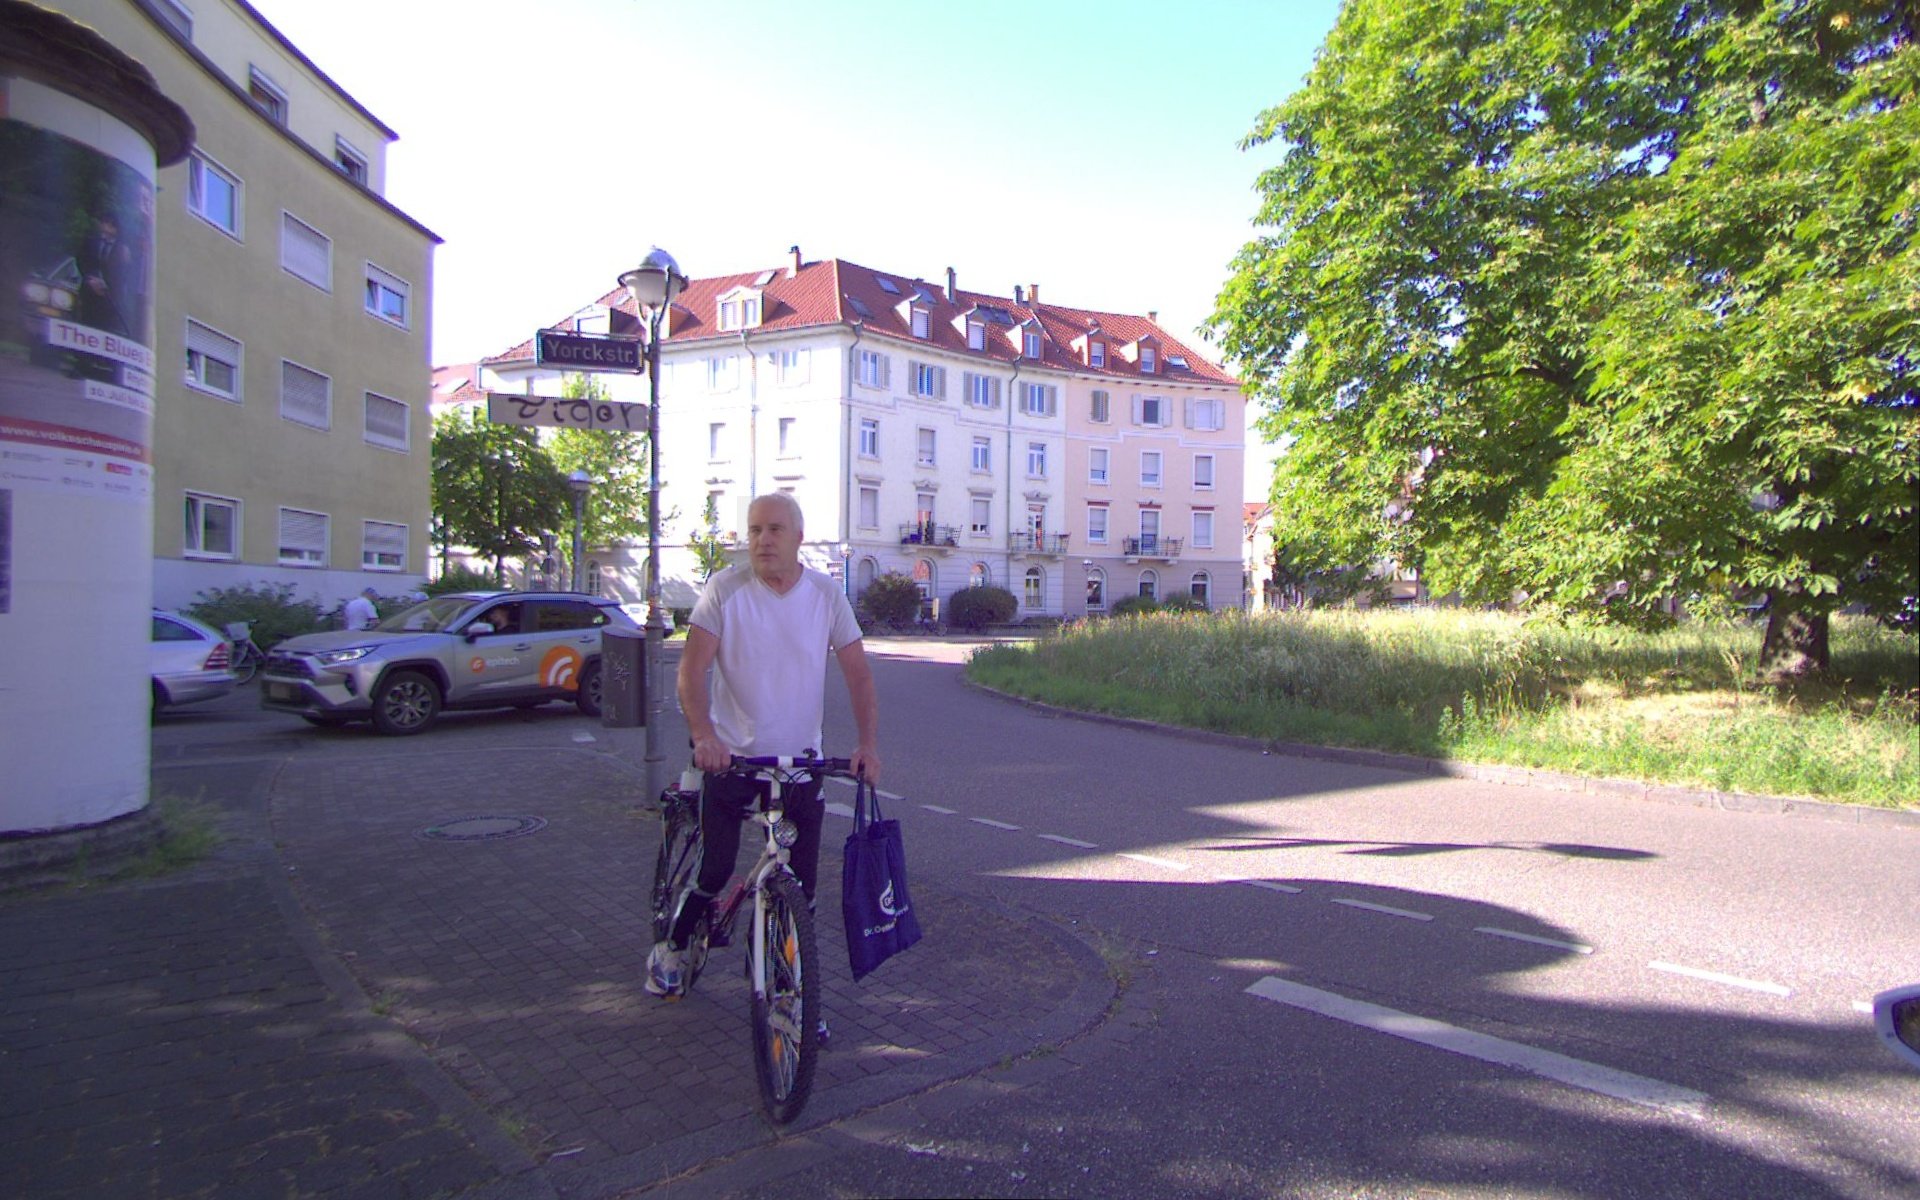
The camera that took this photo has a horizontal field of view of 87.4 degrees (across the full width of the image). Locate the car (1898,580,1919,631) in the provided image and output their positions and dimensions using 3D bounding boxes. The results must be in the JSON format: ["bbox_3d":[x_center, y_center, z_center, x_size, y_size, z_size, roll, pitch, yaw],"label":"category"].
[{"bbox_3d":[50.129,0.338,49.478,2.061,2.635,6.378,1,1,3],"label":"car"}]

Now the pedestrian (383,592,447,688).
[{"bbox_3d":[-9.176,0.653,16.919,0.639,1.544,0.695,5,3,33],"label":"pedestrian"}]

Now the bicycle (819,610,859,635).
[{"bbox_3d":[-5.557,1.047,46.258,1.770,1.122,0.498,1,0,-16],"label":"bicycle"}]

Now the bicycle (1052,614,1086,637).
[{"bbox_3d":[5.528,1.293,50.894,1.663,1.103,0.499,1,2,-25],"label":"bicycle"}]

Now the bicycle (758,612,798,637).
[{"bbox_3d":[-8.414,1.115,46.426,1.765,1.139,0.570,0,0,20],"label":"bicycle"}]

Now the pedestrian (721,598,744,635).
[{"bbox_3d":[-10.406,0.737,46.016,0.731,1.683,0.774,0,0,20],"label":"pedestrian"}]

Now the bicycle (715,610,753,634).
[{"bbox_3d":[-10.964,1.081,48.707,1.765,1.139,0.570,0,0,20],"label":"bicycle"}]

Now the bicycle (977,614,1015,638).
[{"bbox_3d":[1.771,1.270,49.296,1.772,1.139,0.568,3,-1,-19],"label":"bicycle"}]

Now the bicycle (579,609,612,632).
[{"bbox_3d":[-19.020,1.081,52.410,1.767,1.157,0.570,0,0,28],"label":"bicycle"}]

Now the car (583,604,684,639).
[{"bbox_3d":[-13.964,0.904,42.981,3.923,1.431,1.799,0,0,23],"label":"car"}]

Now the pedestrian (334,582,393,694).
[{"bbox_3d":[-9.555,0.594,16.091,0.545,1.716,0.607,5,3,33],"label":"pedestrian"}]

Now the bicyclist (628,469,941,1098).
[{"bbox_3d":[-0.599,0.506,3.293,0.756,1.718,0.805,1,0,-32],"label":"bicyclist"}]

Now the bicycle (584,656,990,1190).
[{"bbox_3d":[-0.718,0.852,3.475,0.756,1.214,1.854,1,0,-31],"label":"bicycle"}]

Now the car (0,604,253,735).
[{"bbox_3d":[-10.993,0.763,11.709,4.449,1.430,1.714,1,-1,-38],"label":"car"}]

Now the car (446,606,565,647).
[{"bbox_3d":[-16.971,0.948,37.544,3.921,1.430,1.804,0,0,20],"label":"car"}]

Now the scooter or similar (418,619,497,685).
[{"bbox_3d":[-8.820,0.891,17.641,0.902,1.037,0.896,5,3,33],"label":"scooter or similar"}]

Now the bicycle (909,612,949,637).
[{"bbox_3d":[-1.461,1.155,47.263,1.780,1.139,0.566,3,-1,-32],"label":"bicycle"}]

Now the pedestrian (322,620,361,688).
[{"bbox_3d":[-10.059,0.874,16.347,0.370,1.054,0.405,5,3,33],"label":"pedestrian"}]

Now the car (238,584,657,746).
[{"bbox_3d":[-6.124,0.687,12.689,1.700,1.651,4.611,0,0,26],"label":"car"}]

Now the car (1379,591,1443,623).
[{"bbox_3d":[28.656,0.438,63.957,2.099,1.934,4.562,1,-1,2],"label":"car"}]

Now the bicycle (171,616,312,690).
[{"bbox_3d":[-11.581,0.826,16.244,0.493,1.122,1.790,0,0,42],"label":"bicycle"}]

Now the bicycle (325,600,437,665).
[{"bbox_3d":[-10.615,0.577,18.472,0.491,1.122,1.798,0,0,27],"label":"bicycle"}]

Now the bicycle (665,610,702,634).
[{"bbox_3d":[-13.781,1.085,50.030,1.765,1.139,0.570,0,0,20],"label":"bicycle"}]

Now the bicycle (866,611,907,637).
[{"bbox_3d":[-3.381,1.111,46.401,1.772,1.139,0.568,3,-1,-19],"label":"bicycle"}]

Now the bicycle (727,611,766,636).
[{"bbox_3d":[-10.091,1.104,47.461,1.765,1.139,0.570,0,0,20],"label":"bicycle"}]
